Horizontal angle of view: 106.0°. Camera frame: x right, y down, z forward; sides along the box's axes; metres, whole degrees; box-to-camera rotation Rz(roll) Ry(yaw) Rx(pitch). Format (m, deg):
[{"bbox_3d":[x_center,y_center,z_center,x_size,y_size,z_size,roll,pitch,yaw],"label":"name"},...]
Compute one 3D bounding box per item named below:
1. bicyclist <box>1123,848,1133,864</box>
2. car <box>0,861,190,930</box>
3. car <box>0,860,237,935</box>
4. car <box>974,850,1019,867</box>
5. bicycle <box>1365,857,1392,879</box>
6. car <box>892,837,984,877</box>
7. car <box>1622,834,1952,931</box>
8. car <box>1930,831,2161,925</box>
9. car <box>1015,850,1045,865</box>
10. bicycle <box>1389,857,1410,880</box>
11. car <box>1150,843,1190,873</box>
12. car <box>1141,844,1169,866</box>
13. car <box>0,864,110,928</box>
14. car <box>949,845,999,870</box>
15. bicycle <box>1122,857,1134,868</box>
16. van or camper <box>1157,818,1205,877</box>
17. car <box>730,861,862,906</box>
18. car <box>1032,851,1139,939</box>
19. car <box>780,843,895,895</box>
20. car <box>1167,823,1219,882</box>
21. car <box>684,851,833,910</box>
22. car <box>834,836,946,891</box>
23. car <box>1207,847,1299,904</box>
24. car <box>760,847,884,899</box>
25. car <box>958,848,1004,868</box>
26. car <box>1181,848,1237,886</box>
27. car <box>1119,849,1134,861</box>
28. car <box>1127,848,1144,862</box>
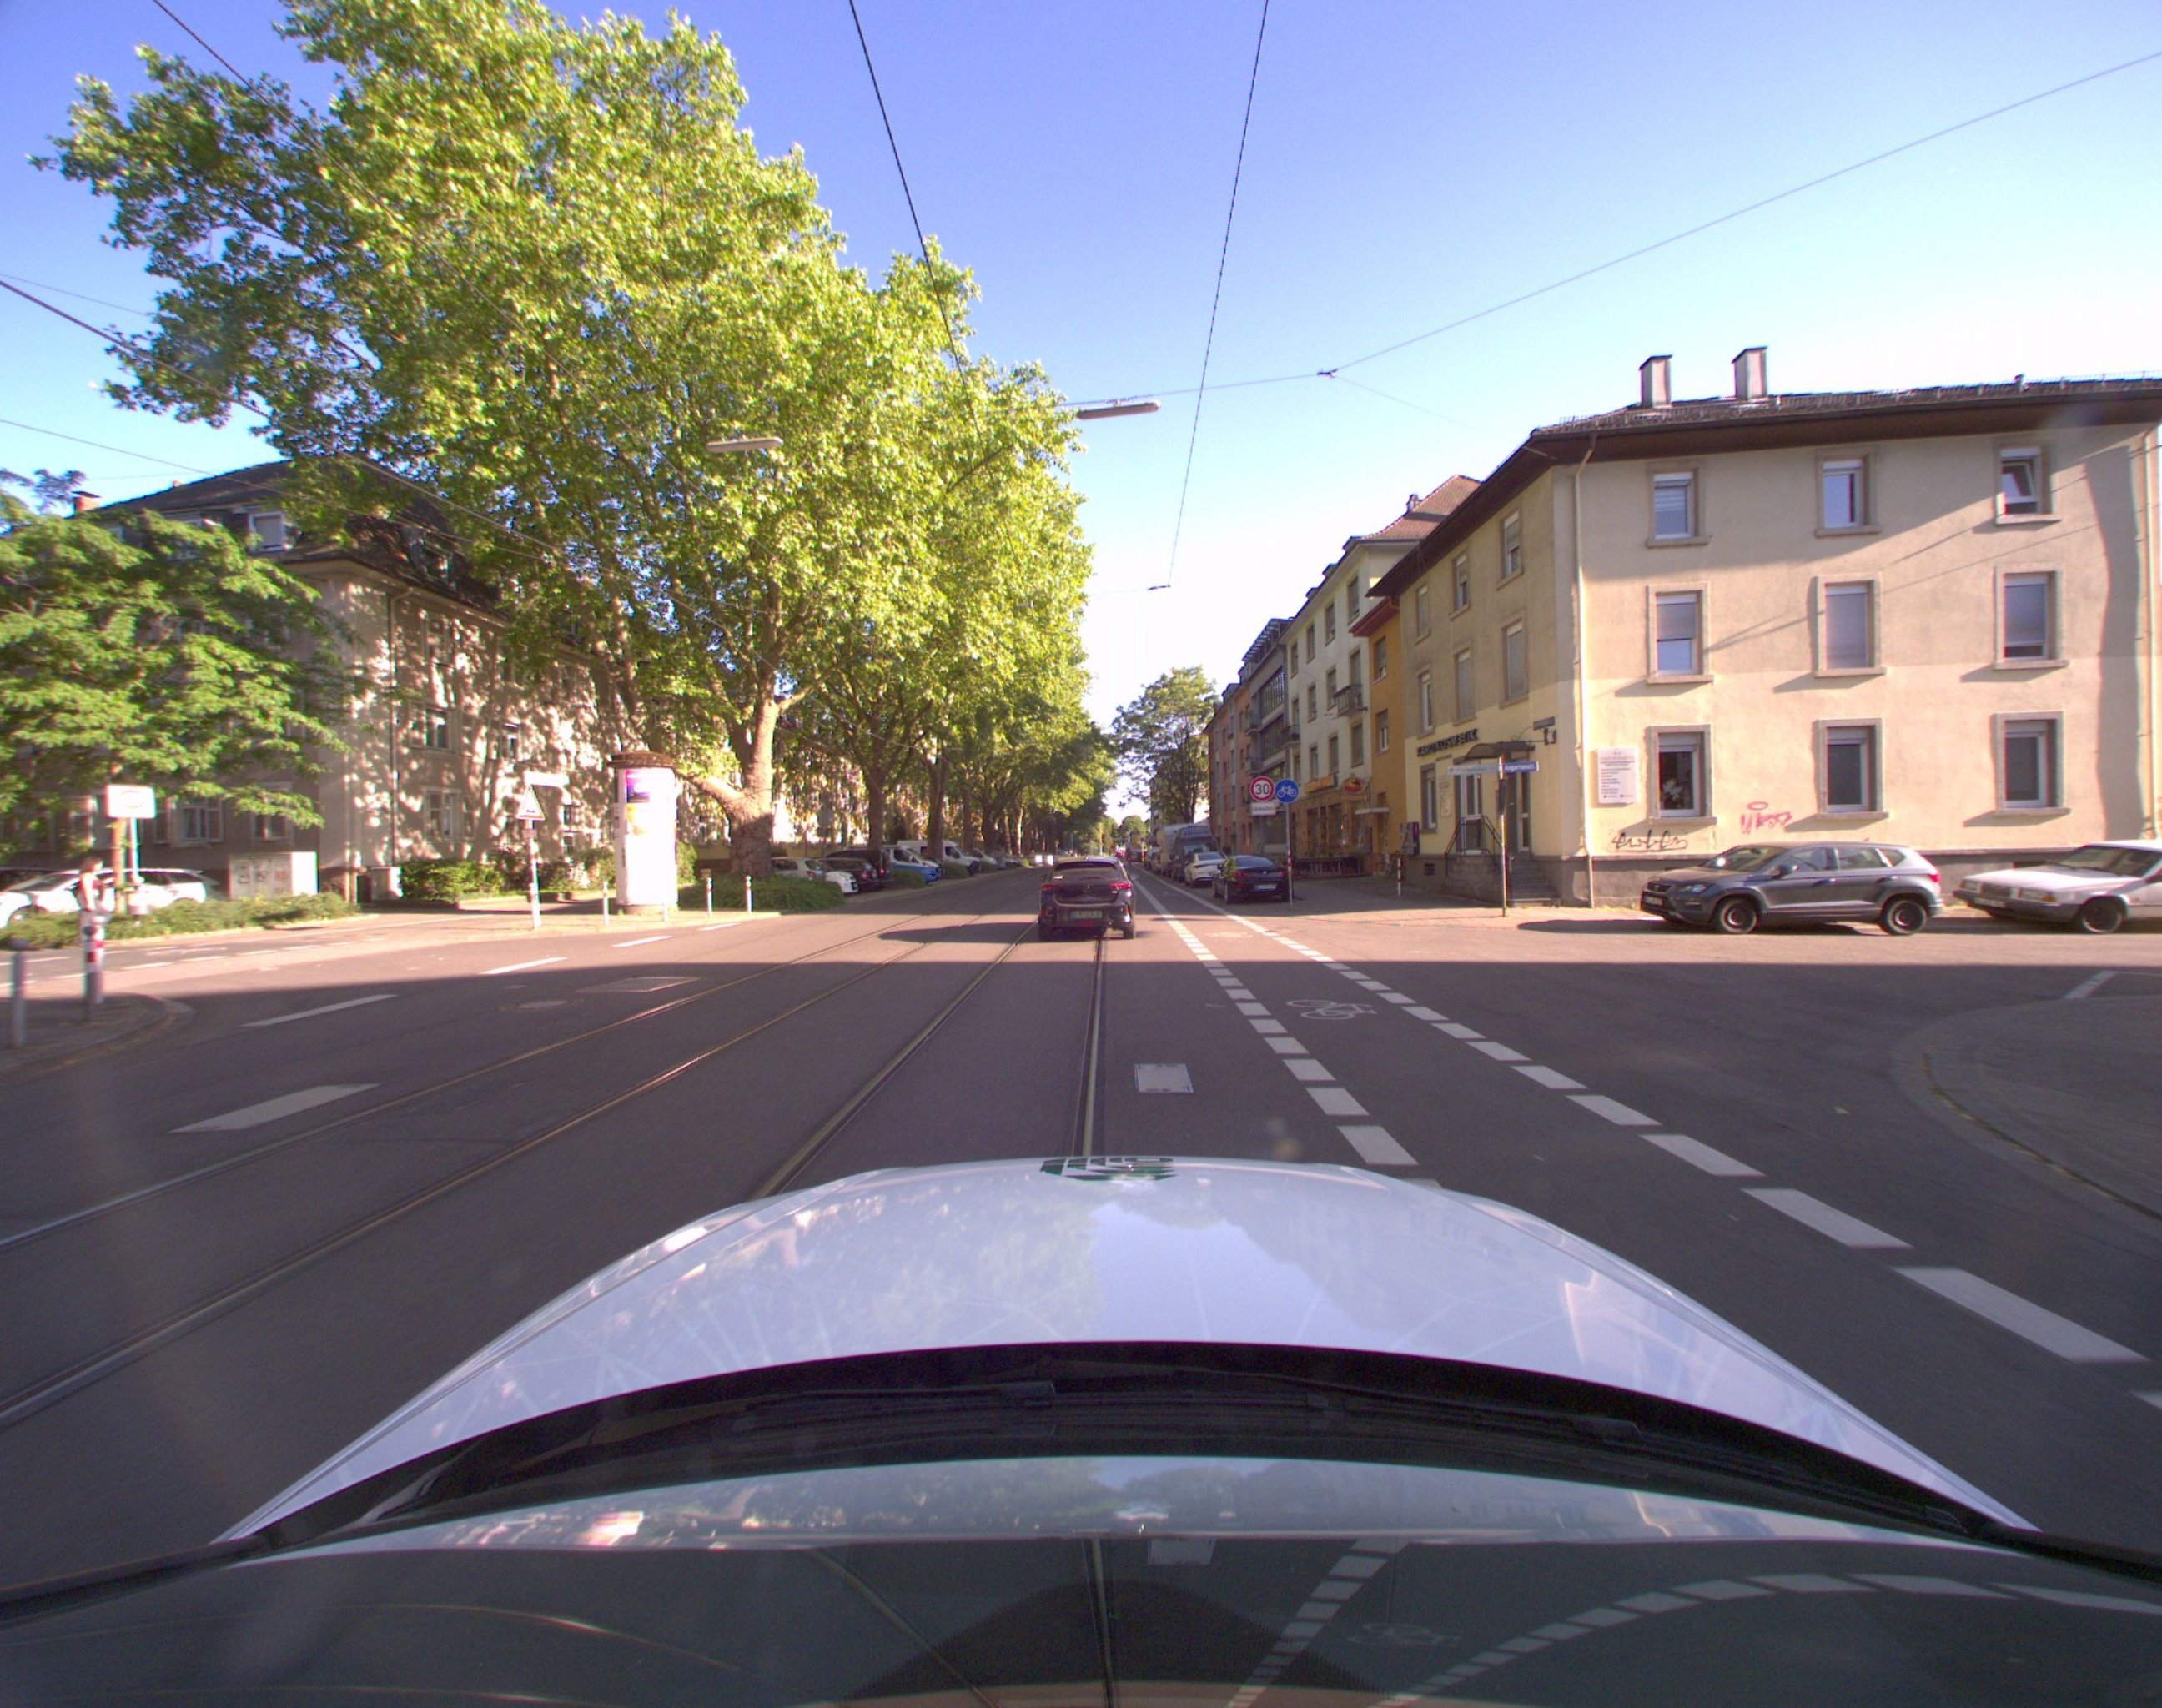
[{"bbox_3d":[4.577,0.202,79.691,0.955,1.499,1.094,0,0,0],"label":"bicyclist"},{"bbox_3d":[-26.196,0.995,20.509,1.980,1.592,4.703,0,0,11],"label":"car"},{"bbox_3d":[-23.989,0.966,19.666,1.843,1.592,4.755,0,0,11],"label":"car"},{"bbox_3d":[-8.390,0.429,80.532,4.350,1.665,1.995,0,0,-7],"label":"car"},{"bbox_3d":[11.046,0.510,30.246,0.408,0.789,1.792,0,0,2],"label":"bicycle"},{"bbox_3d":[-9.459,0.211,54.226,5.611,2.593,2.199,0,0,5],"label":"car"},{"bbox_3d":[12.434,0.484,14.598,4.167,1.598,1.893,0,0,5],"label":"car"},{"bbox_3d":[18.513,0.386,14.333,4.913,1.542,1.918,0,0,5],"label":"car"},{"bbox_3d":[-7.291,0.513,116.841,3.964,2.013,2.005,0,0,8],"label":"car"},{"bbox_3d":[11.346,0.510,29.057,0.471,0.789,1.798,0,0,14],"label":"bicycle"},{"bbox_3d":[6.007,0.235,55.521,2.245,1.840,5.533,-2,0,2],"label":"car"},{"bbox_3d":[6.949,0.091,76.613,2.245,1.840,5.533,-2,0,2],"label":"car"},{"bbox_3d":[-28.645,1.089,20.693,1.980,1.592,4.703,0,0,11],"label":"car"},{"bbox_3d":[-8.821,0.287,67.366,3.983,2.013,1.995,0,0,-7],"label":"car"},{"bbox_3d":[4.591,0.809,79.709,0.964,0.999,2.583,0,0,1],"label":"bicycle"},{"bbox_3d":[5.842,-0.370,48.322,2.245,3.216,5.533,-2,0,2],"label":"van or camper"},{"bbox_3d":[-10.571,1.078,30.460,4.294,1.290,1.707,-4,0,-6],"label":"car"},{"bbox_3d":[0.147,0.677,15.477,1.756,1.460,3.952,0,0,2],"label":"car"},{"bbox_3d":[-10.338,0.616,34.821,4.294,1.840,1.779,-4,0,-6],"label":"car"},{"bbox_3d":[5.646,-0.084,41.757,2.077,2.772,4.700,-2,1,2],"label":"car"},{"bbox_3d":[-10.960,0.882,27.924,4.294,1.593,1.779,-4,0,-6],"label":"car"},{"bbox_3d":[-9.658,0.470,41.506,5.017,2.374,2.082,-4,0,2],"label":"car"},{"bbox_3d":[5.037,0.588,24.459,1.877,1.434,4.532,-4,0,2],"label":"car"},{"bbox_3d":[-10.248,0.729,32.488,4.294,1.674,1.779,-4,0,-6],"label":"car"},{"bbox_3d":[-9.222,0.350,75.128,4.173,1.794,1.995,0,0,-7],"label":"car"},{"bbox_3d":[5.358,0.549,34.555,1.796,1.434,4.001,-2,-1,2],"label":"car"},{"bbox_3d":[7.710,0.131,137.926,2.245,1.840,5.533,-2,0,2],"label":"car"},{"bbox_3d":[7.849,0.153,118.575,2.245,1.840,5.533,-2,0,2],"label":"car"}]
